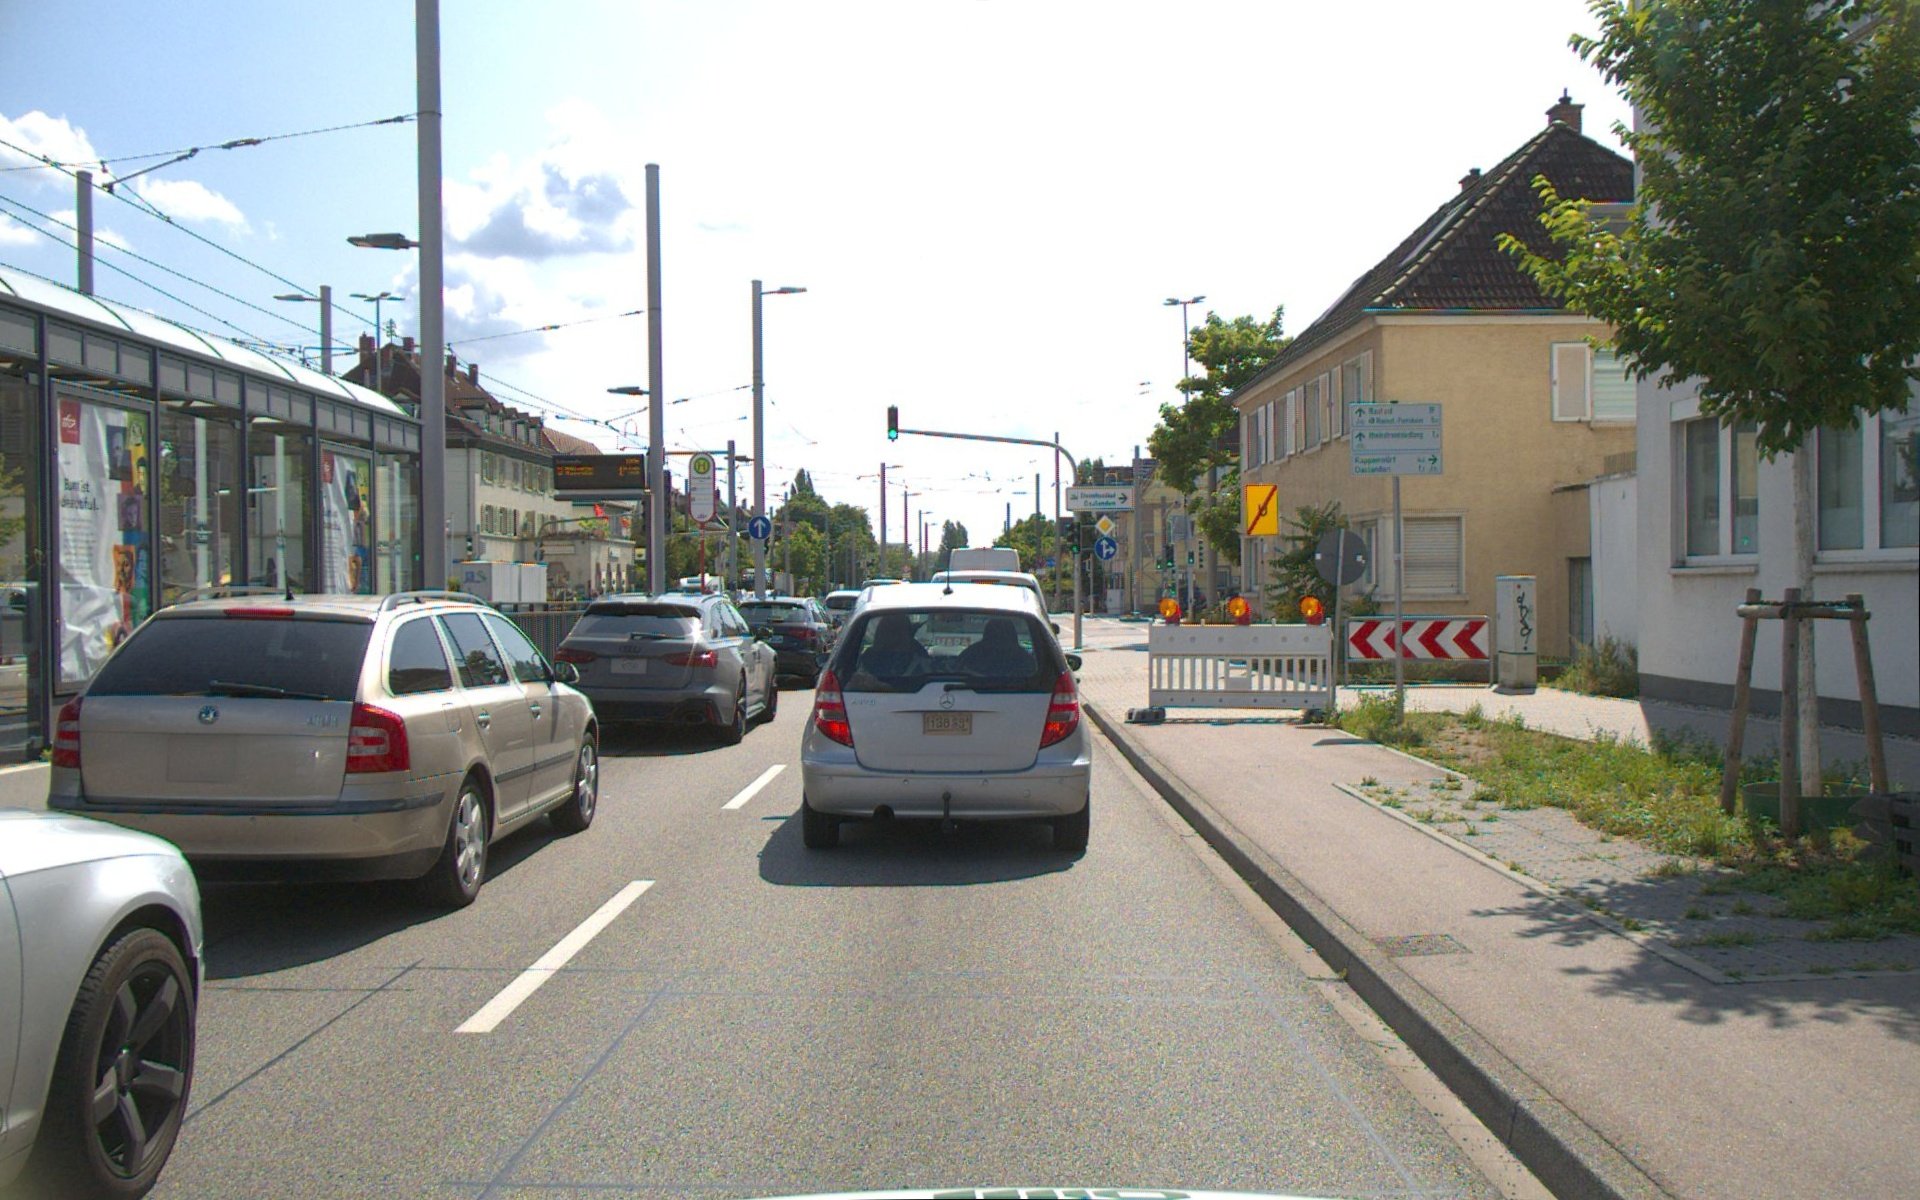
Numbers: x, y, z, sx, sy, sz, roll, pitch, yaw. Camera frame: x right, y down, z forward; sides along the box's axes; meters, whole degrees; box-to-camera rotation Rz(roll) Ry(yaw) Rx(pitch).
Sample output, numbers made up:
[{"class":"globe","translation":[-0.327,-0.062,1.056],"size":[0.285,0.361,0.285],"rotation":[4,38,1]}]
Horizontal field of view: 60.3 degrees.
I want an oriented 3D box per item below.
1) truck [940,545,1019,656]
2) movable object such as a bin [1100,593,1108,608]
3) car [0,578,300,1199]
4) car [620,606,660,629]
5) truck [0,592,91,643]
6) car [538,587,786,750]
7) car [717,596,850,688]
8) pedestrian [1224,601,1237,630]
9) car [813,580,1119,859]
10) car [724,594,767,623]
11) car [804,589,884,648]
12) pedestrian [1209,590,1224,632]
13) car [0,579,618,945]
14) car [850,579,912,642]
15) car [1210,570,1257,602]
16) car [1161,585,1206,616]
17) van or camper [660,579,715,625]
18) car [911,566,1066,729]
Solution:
[{"class":"truck","translation":[0.418,0.025,41.986],"size":[1.814,2.597,5.854],"rotation":[1,0,-1]},{"class":"movable object such as a bin","translation":[9.330,0.054,107.337],"size":[0.458,0.963,0.558],"rotation":[-1,-1,1]},{"class":"car","translation":[-2.789,0.687,2.459],"size":[1.758,1.497,4.721],"rotation":[1,0,-1]},{"class":"car","translation":[-19.244,1.043,99.577],"size":[1.650,1.375,4.343],"rotation":[1,0,-2]},{"class":"truck","translation":[-38.234,0.678,66.221],"size":[6.055,1.955,1.690],"rotation":[1,0,3]},{"class":"car","translation":[-3.033,0.644,17.808],"size":[1.877,1.503,4.561],"rotation":[1,0,-1]},{"class":"car","translation":[-2.901,0.671,28.092],"size":[1.814,1.413,4.513],"rotation":[1,0,-1]},{"class":"pedestrian","translation":[11.097,0.641,67.934],"size":[0.477,1.156,0.389],"rotation":[1,-1,4]},{"class":"car","translation":[-0.012,0.667,11.292],"size":[1.695,1.543,4.015],"rotation":[1,0,-1]},{"class":"car","translation":[-14.472,0.545,111.969],"size":[1.952,1.807,4.880],"rotation":[-2,0,3]},{"class":"car","translation":[-2.939,0.459,42.595],"size":[1.815,1.413,3.917],"rotation":[1,0,-1]},{"class":"pedestrian","translation":[10.516,0.451,67.844],"size":[0.535,1.672,0.401],"rotation":[1,-1,5]},{"class":"car","translation":[-3.079,0.673,8.820],"size":[1.696,1.474,4.122],"rotation":[1,0,-1]},{"class":"car","translation":[-2.471,0.331,52.711],"size":[1.815,1.875,3.917],"rotation":[1,0,-1]},{"class":"car","translation":[15.002,-0.746,90.821],"size":[1.952,1.624,4.131],"rotation":[1,0,1]},{"class":"car","translation":[12.221,0.015,90.660],"size":[1.952,1.624,4.131],"rotation":[1,0,1]},{"class":"van or camper","translation":[-18.815,0.120,114.485],"size":[2.276,2.981,7.755],"rotation":[-1,0,1]},{"class":"car","translation":[0.273,0.537,20.431],"size":[1.695,1.793,4.015],"rotation":[1,0,-1]}]
